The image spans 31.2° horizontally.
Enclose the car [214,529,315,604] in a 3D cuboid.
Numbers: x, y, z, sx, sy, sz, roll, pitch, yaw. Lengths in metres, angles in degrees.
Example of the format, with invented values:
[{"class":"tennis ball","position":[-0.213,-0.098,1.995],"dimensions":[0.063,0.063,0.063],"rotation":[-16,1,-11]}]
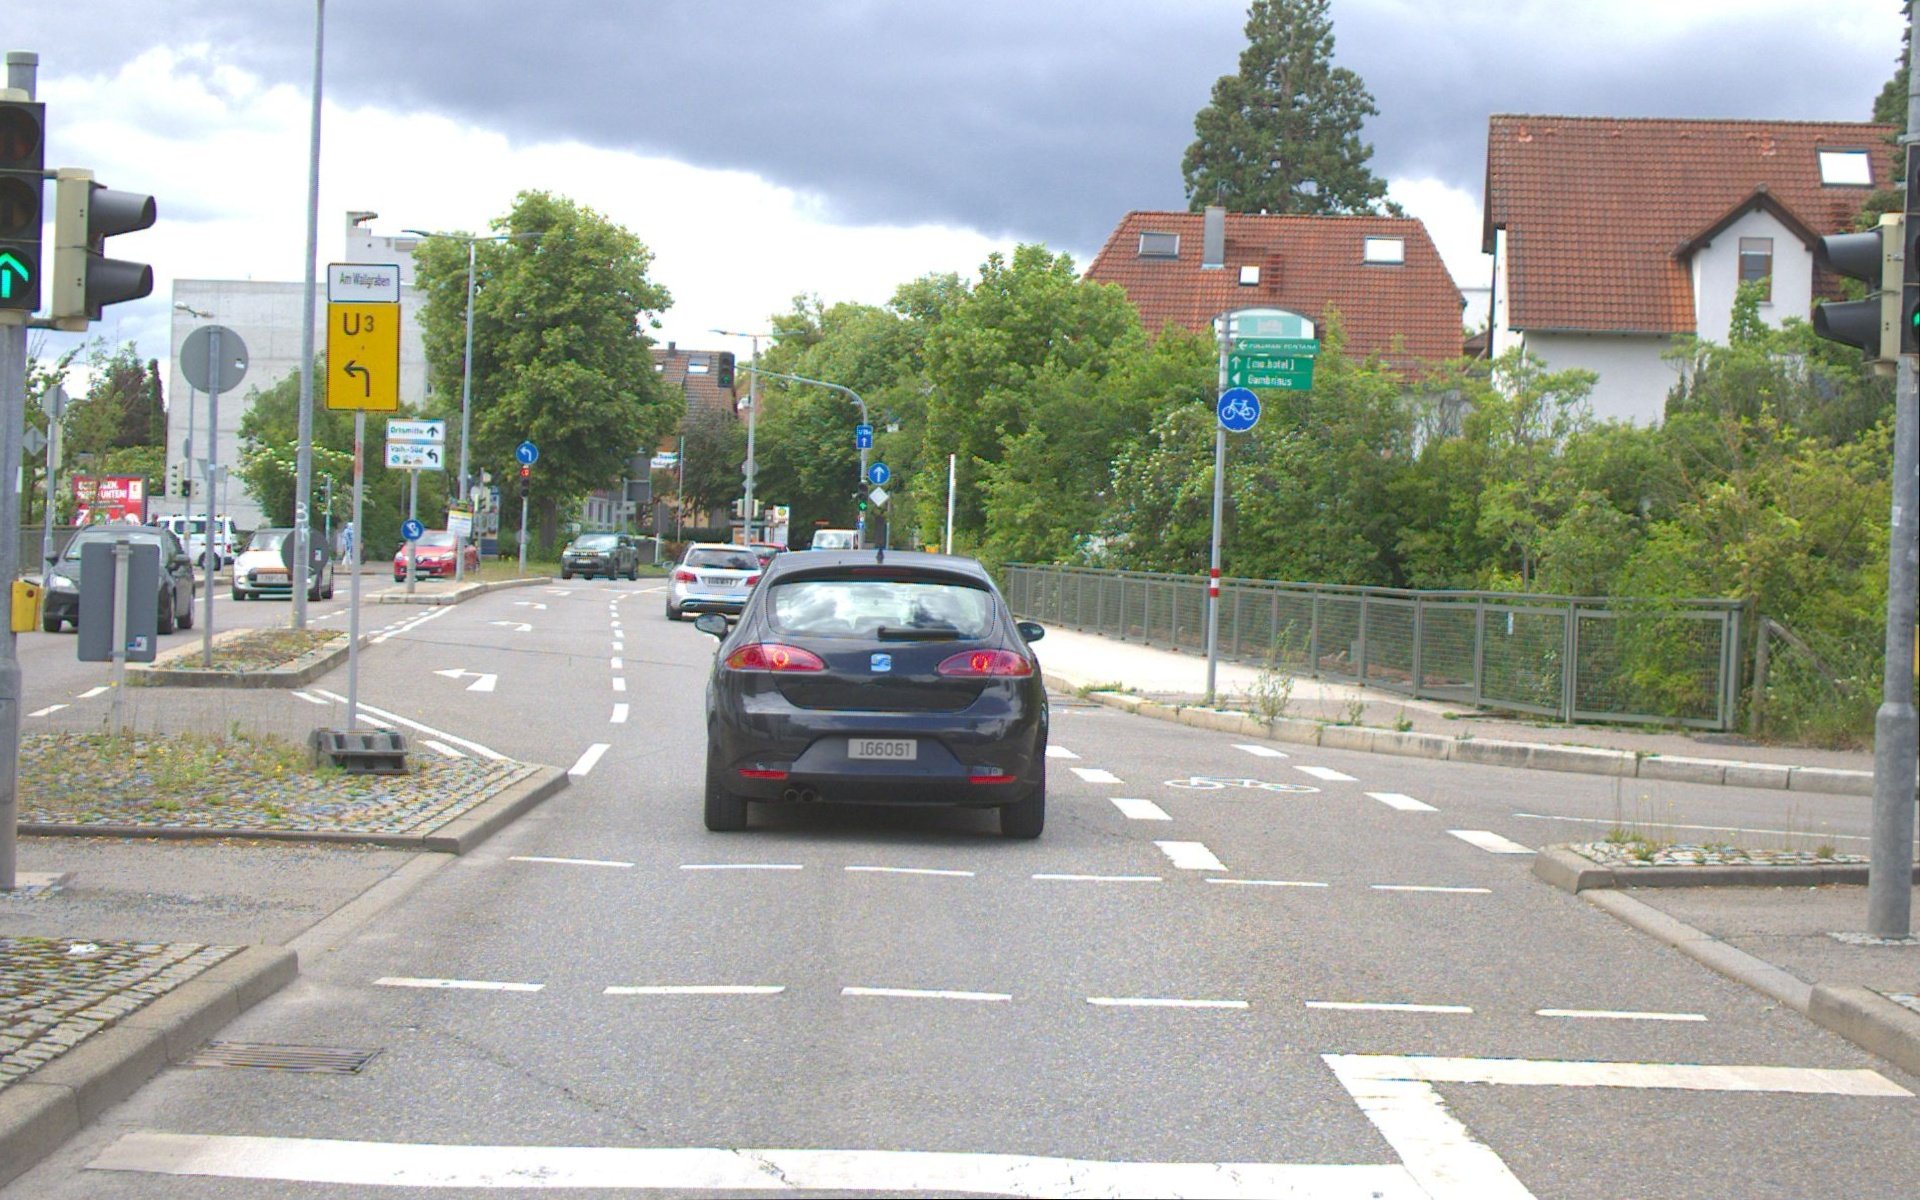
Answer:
[{"class":"car","position":[-13.891,-0.684,68.815],"dimensions":[1.642,1.404,3.820],"rotation":[2,1,-7]}]

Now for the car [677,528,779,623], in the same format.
[{"class":"car","position":[-4.423,-0.494,65.099],"dimensions":[1.818,1.693,4.254],"rotation":[1,1,-5]}]

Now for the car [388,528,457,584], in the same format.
[{"class":"car","position":[-14.883,-1.217,95.378],"dimensions":[1.720,1.443,4.068],"rotation":[2,1,-7]}]

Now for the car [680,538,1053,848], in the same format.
[{"class":"car","position":[-0.513,0.418,18.456],"dimensions":[1.759,1.444,3.715],"rotation":[1,1,-2]}]

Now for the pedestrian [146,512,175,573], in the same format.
[{"class":"pedestrian","position":[-21.969,-1.569,94.429],"dimensions":[0.656,1.628,1.071],"rotation":[3,0,-11]}]

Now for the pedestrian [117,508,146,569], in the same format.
[{"class":"pedestrian","position":[-22.732,-1.685,94.321],"dimensions":[0.656,1.628,0.833],"rotation":[3,0,-11]}]

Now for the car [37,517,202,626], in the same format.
[{"class":"car","position":[-11.240,-0.399,46.178],"dimensions":[1.720,1.386,3.919],"rotation":[0,1,-7]}]

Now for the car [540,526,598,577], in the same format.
[{"class":"car","position":[-13.203,-1.649,115.854],"dimensions":[1.822,1.621,4.280],"rotation":[2,1,-7]}]

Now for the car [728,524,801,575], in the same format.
[{"class":"car","position":[-6.136,-1.593,107.402],"dimensions":[1.941,1.476,4.254],"rotation":[1,1,-7]}]

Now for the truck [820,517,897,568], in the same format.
[{"class":"truck","position":[-4.652,-2.628,159.135],"dimensions":[2.126,2.257,6.803],"rotation":[2,1,10]}]

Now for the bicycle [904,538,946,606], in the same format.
[{"class":"bicycle","position":[-0.792,-0.651,78.797],"dimensions":[0.891,1.505,2.783],"rotation":[2,1,0]}]
